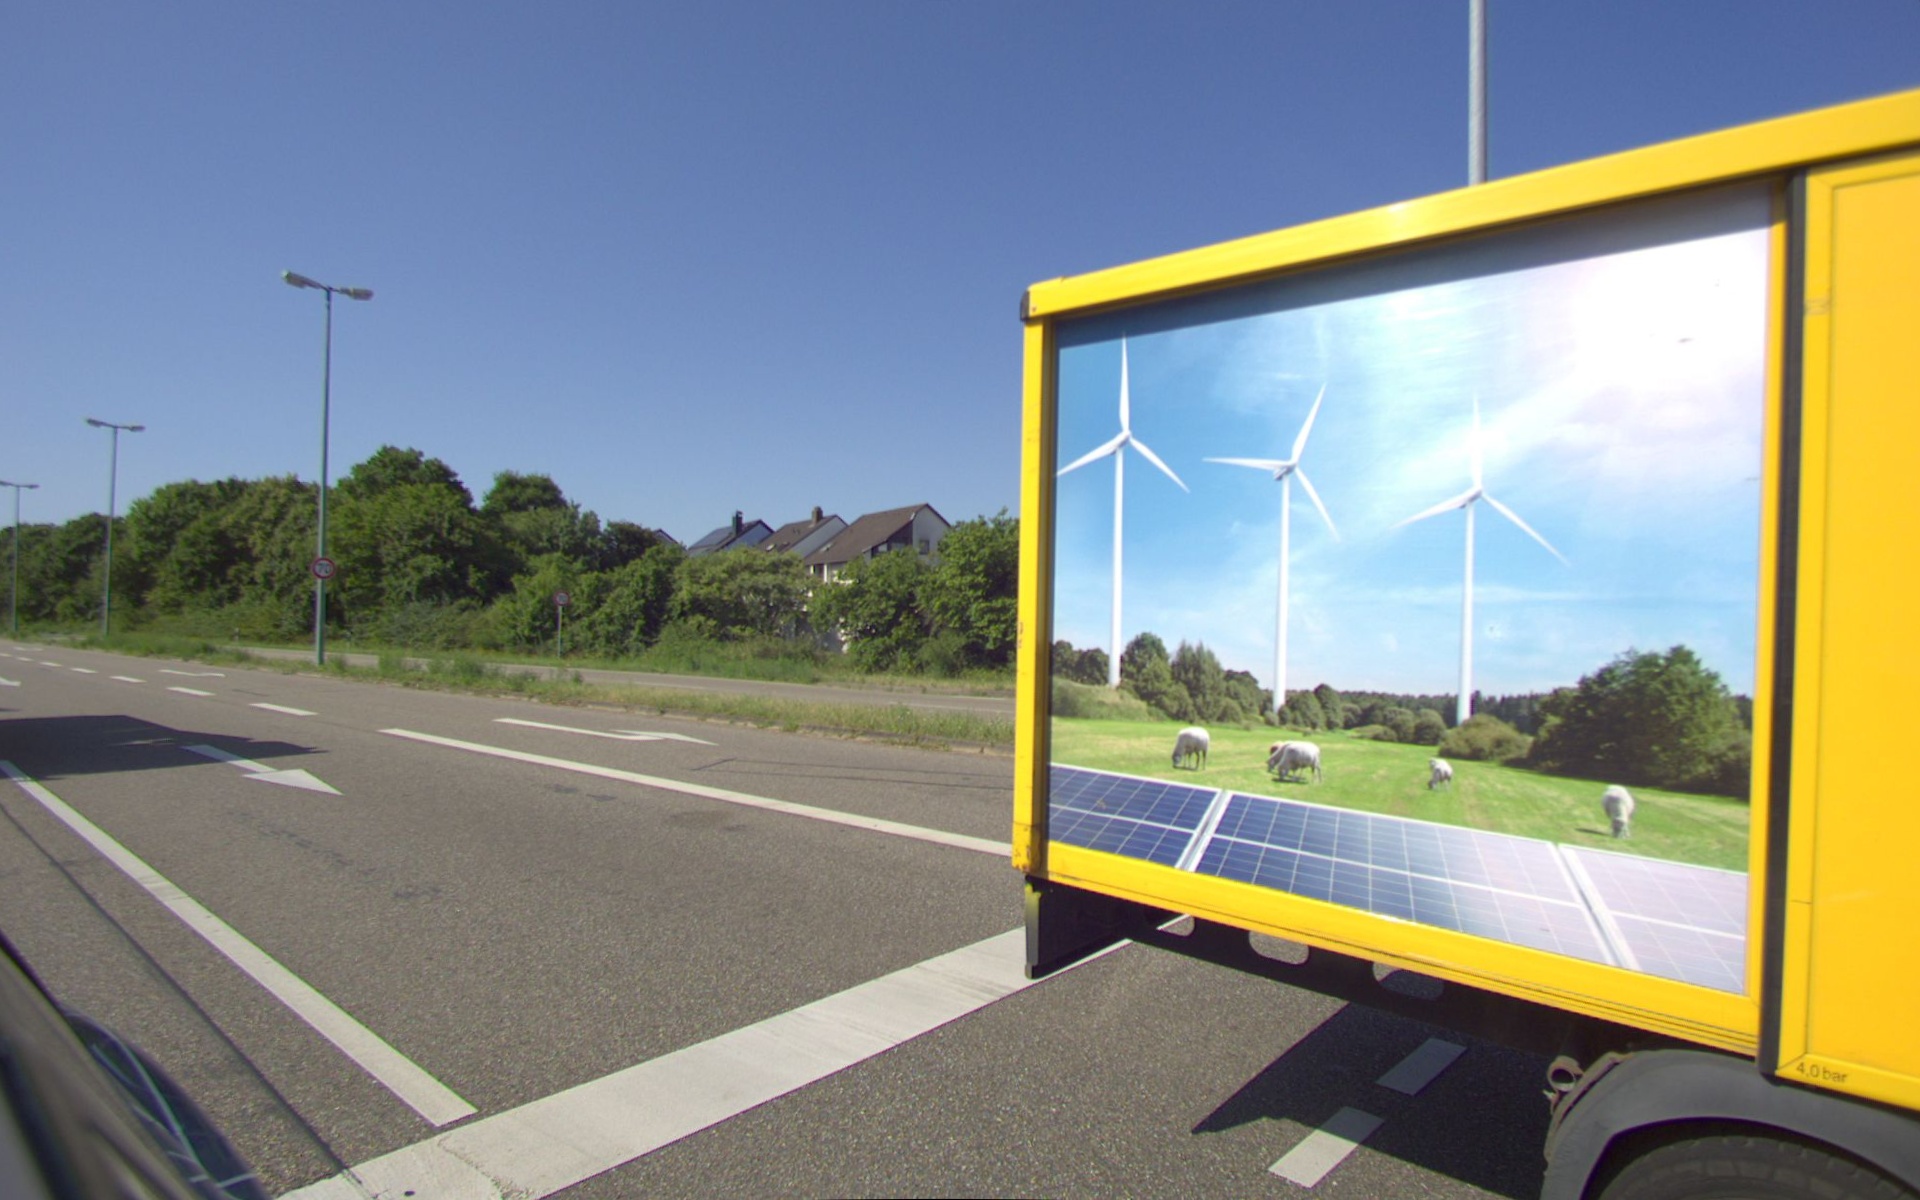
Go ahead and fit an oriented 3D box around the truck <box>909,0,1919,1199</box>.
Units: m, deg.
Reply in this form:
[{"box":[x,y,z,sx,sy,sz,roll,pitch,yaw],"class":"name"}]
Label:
[{"box":[2.767,0.205,1.418,5.914,2.476,2.090,-1,-1,41],"class":"truck"}]
